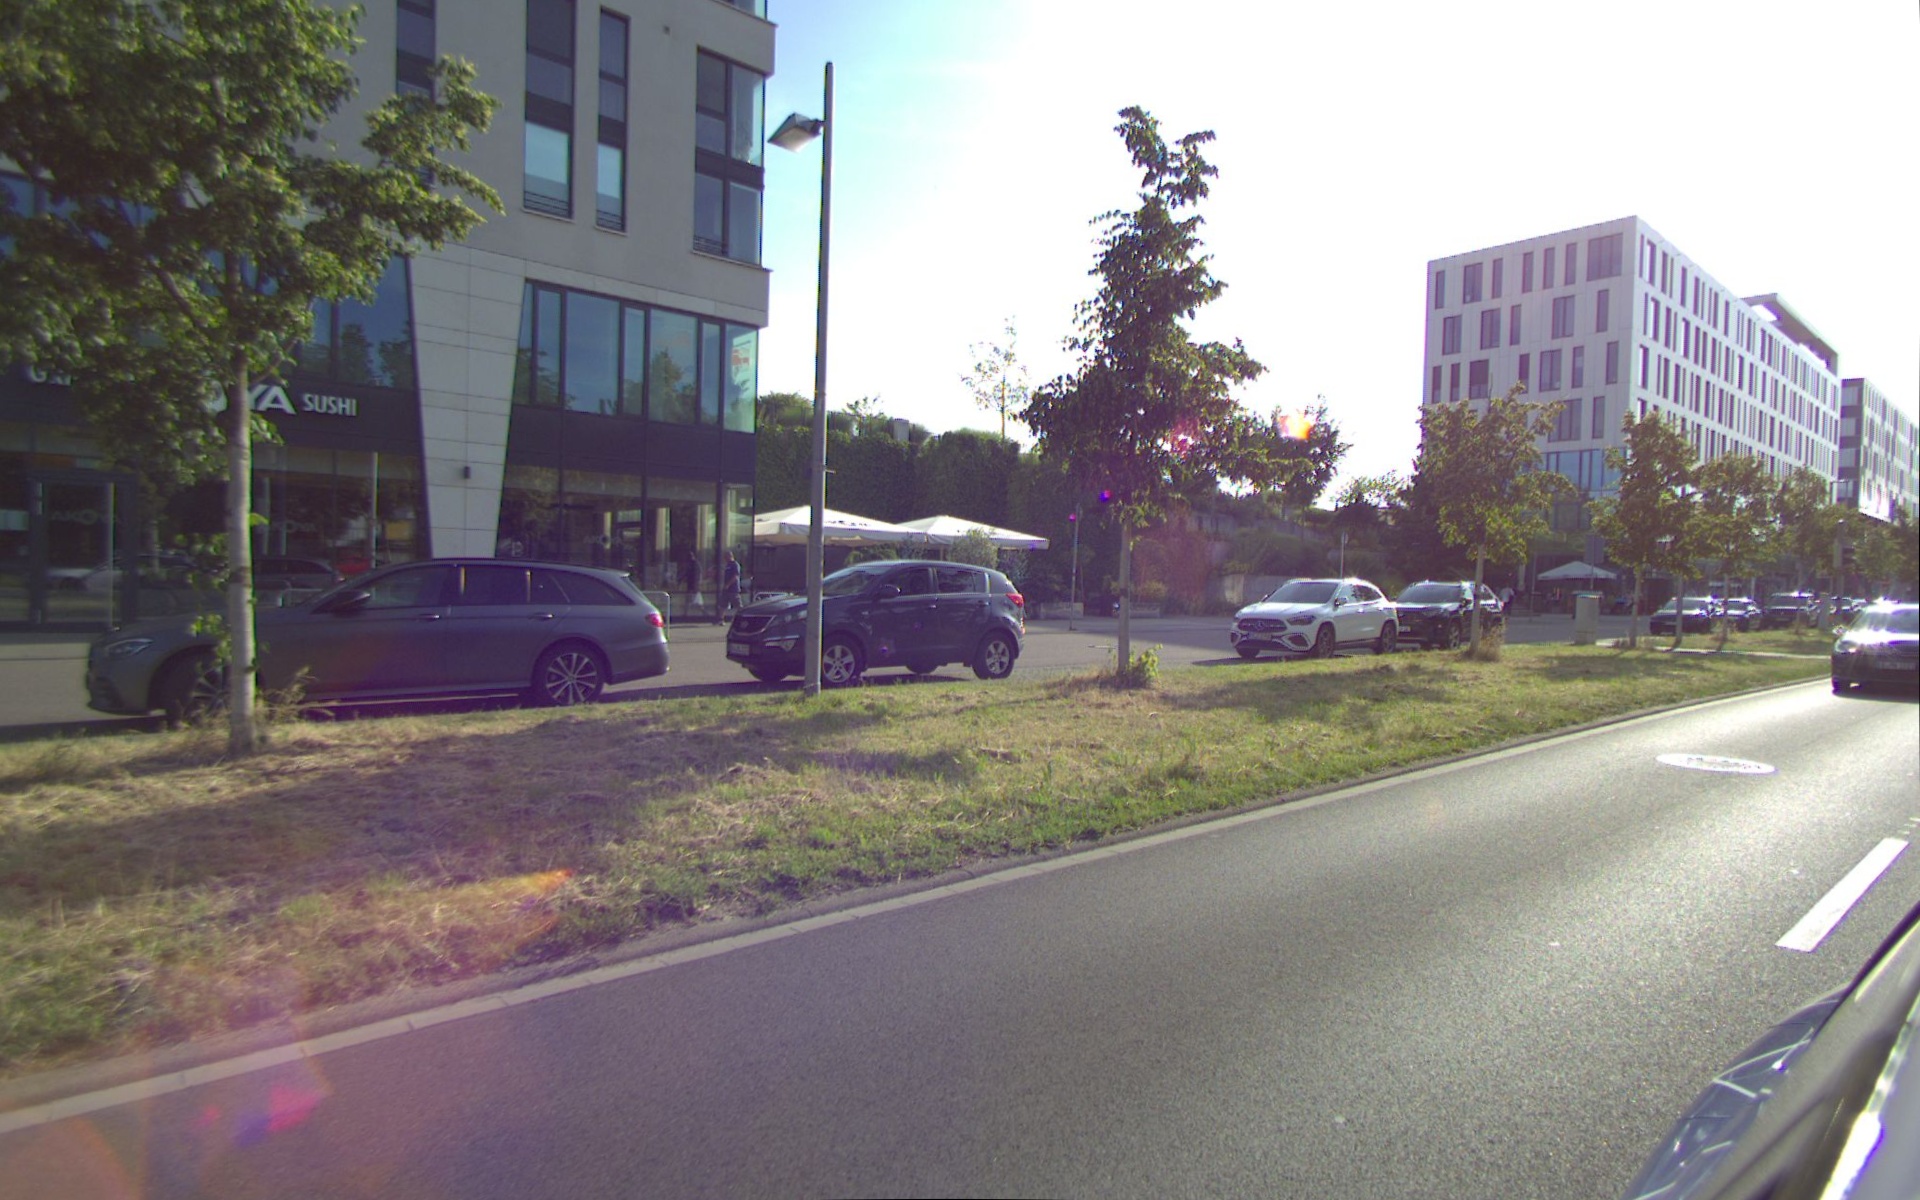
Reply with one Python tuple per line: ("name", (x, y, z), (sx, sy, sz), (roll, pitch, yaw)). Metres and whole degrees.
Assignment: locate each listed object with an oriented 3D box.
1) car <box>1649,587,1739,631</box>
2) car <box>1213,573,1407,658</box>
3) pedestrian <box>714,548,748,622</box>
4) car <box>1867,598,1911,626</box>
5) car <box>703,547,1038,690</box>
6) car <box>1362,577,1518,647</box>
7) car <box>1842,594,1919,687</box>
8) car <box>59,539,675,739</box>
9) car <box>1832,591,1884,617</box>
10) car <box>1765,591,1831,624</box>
("car", (27.762, 0.310, 38.223), (4.253, 1.549, 1.839), (-1, 0, -41))
("car", (7.130, 0.259, 20.435), (4.253, 1.549, 1.839), (-1, 0, -41))
("pedestrian", (-5.090, -0.334, 22.499), (0.562, 1.621, 0.499), (0, 0, -41))
("car", (62.385, 0.785, 67.916), (3.825, 1.810, 1.739), (-1, 0, -41))
("car", (-1.082, 0.186, 13.544), (4.253, 1.618, 1.763), (-1, 0, -41))
("car", (11.585, 0.242, 24.326), (4.253, 1.549, 1.839), (-1, 0, -41))
("car", (16.579, 0.631, 17.319), (3.969, 1.442, 1.697), (-1, 0, -41))
("car", (-5.423, 0.268, 9.830), (4.828, 1.507, 1.765), (-1, 0, -37))
("car", (54.986, 0.209, 61.937), (4.253, 1.549, 1.839), (-1, 0, -41))
("car", (41.480, 0.344, 50.074), (4.253, 1.549, 1.839), (-1, 0, -41))
